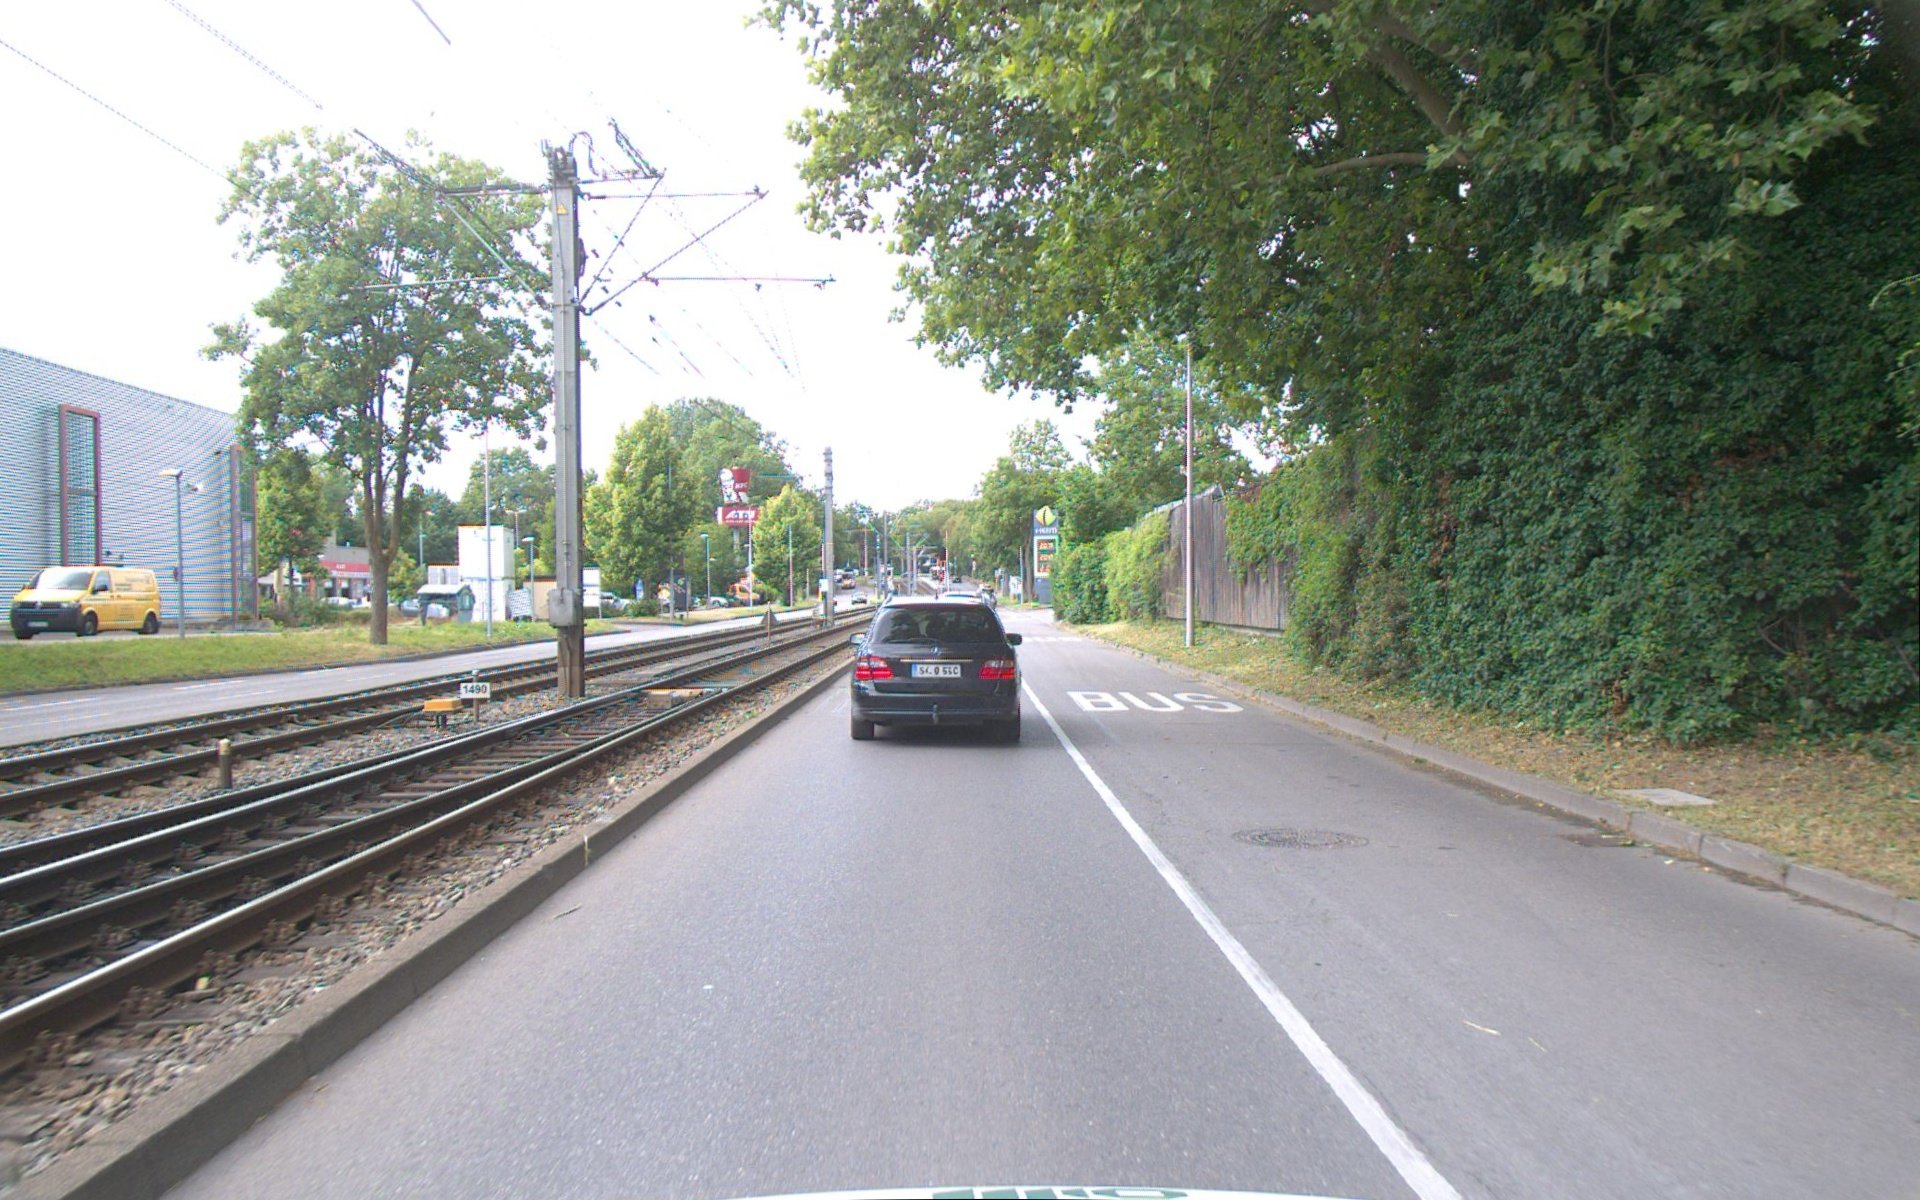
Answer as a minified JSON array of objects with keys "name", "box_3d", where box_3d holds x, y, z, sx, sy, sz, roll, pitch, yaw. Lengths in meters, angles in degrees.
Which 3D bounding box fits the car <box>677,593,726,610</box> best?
[{"name":"car","box_3d":[-23.471,0.157,150.058,4.220,1.497,1.680,-1,0,-2]}]

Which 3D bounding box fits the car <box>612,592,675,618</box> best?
[{"name":"car","box_3d":[-22.631,0.326,118.412,4.135,1.757,1.995,-1,0,-2]}]

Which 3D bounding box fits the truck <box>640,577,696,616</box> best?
[{"name":"truck","box_3d":[-22.514,-0.254,127.472,3.907,2.871,2.375,-1,0,-3]}]

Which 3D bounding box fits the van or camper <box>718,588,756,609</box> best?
[{"name":"van or camper","box_3d":[-23.820,-0.166,176.543,3.909,2.172,1.876,0,0,-5]}]

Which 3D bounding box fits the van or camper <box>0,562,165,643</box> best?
[{"name":"van or camper","box_3d":[-23.718,0.045,44.789,2.061,2.049,5.239,-1,0,-3]}]

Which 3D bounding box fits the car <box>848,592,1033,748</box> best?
[{"name":"car","box_3d":[-0.187,0.667,17.917,1.771,1.500,3.880,0,0,0]}]

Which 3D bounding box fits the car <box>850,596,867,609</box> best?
[{"name":"car","box_3d":[-12.269,0.296,200.240,1.723,1.425,4.442,-3,0,-1]}]

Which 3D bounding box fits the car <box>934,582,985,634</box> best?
[{"name":"car","box_3d":[-0.022,0.286,59.014,1.744,1.781,3.718,1,0,0]}]

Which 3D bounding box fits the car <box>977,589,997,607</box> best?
[{"name":"car","box_3d":[2.185,-0.136,135.543,1.539,1.439,3.354,1,0,0]}]

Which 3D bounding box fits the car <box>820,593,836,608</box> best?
[{"name":"car","box_3d":[-15.842,0.074,198.622,1.756,1.803,3.999,-1,0,-2]}]
